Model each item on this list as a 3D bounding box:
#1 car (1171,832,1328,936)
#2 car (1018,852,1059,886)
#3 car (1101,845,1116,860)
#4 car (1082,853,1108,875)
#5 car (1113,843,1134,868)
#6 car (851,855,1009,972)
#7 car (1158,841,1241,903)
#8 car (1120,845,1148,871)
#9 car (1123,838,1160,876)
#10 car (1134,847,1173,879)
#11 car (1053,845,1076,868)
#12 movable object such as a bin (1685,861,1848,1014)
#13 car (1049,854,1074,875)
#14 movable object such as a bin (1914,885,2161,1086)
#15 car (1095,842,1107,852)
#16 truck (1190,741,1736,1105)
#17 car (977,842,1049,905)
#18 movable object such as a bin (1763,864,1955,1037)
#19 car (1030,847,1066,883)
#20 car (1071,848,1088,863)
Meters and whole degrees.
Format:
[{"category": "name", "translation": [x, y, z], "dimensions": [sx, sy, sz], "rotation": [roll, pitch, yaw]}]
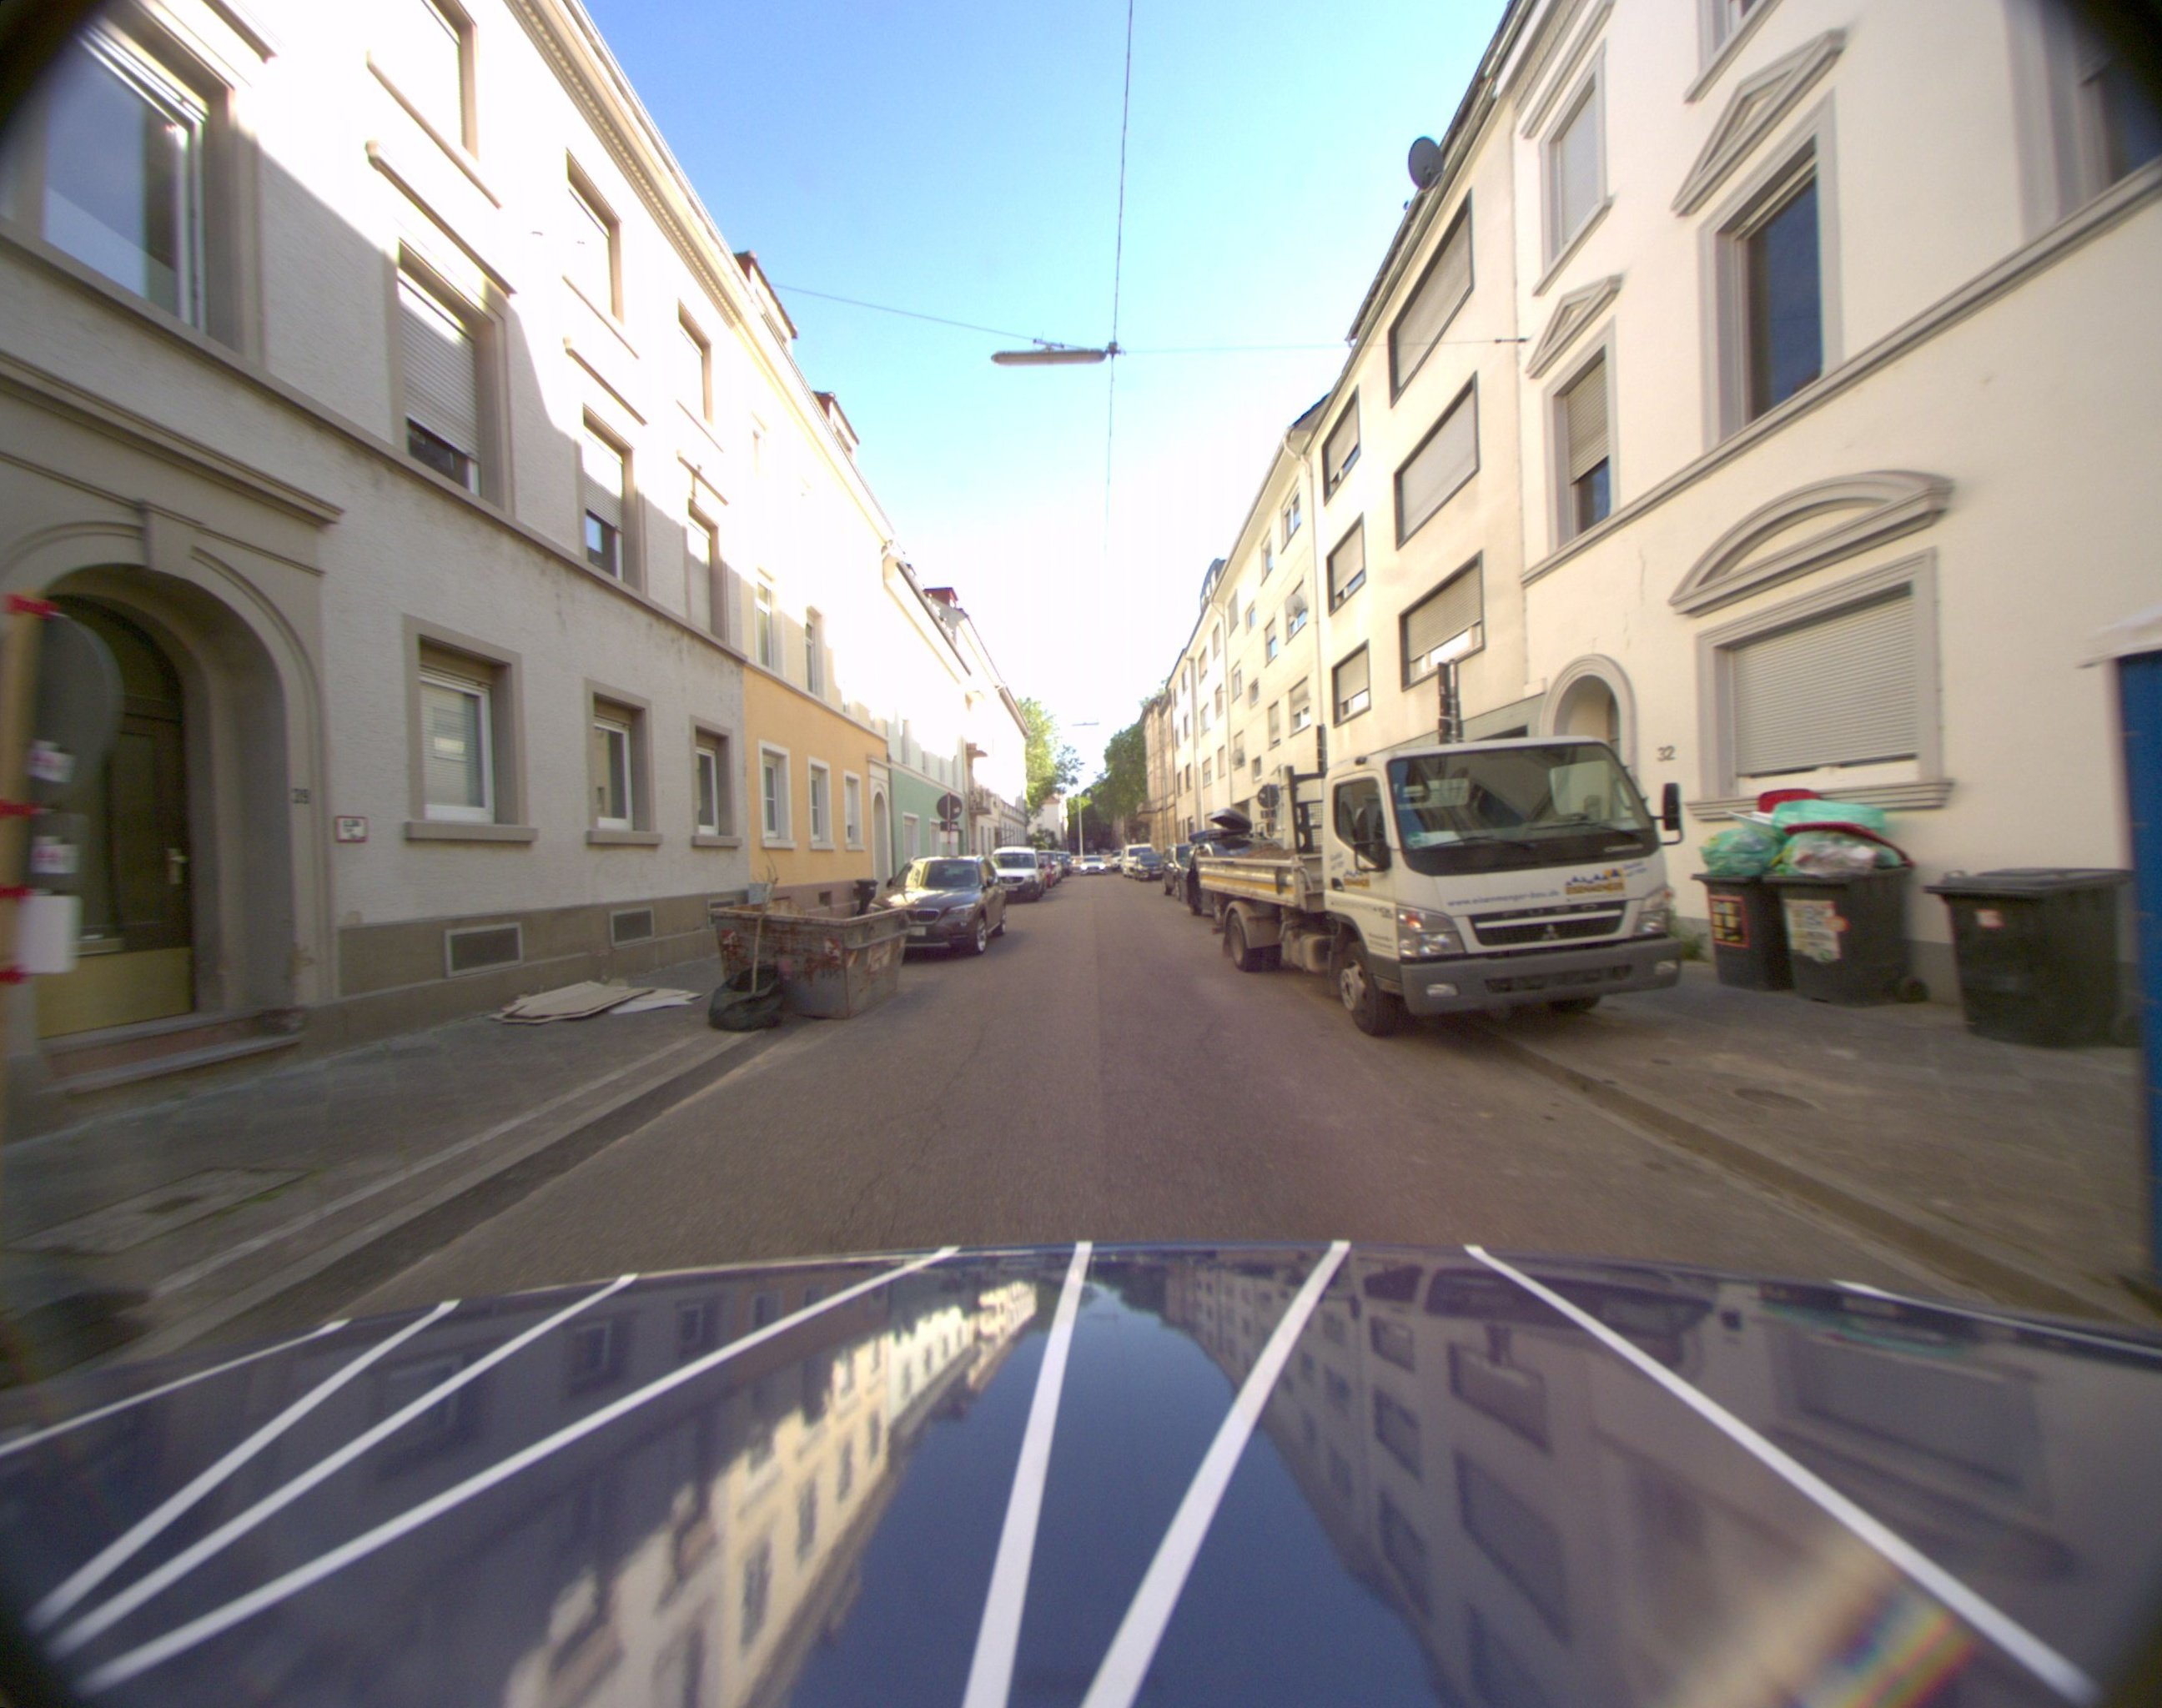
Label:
[{"category": "car", "translation": [3.352, 0.508, 16.338], "dimensions": [1.918, 1.871, 5.183], "rotation": [0, 1, -4]}, {"category": "car", "translation": [-1.917, 0.678, 35.304], "dimensions": [1.578, 1.460, 3.869], "rotation": [-2, -1, 1]}, {"category": "car", "translation": [3.389, -0.221, 95.284], "dimensions": [1.786, 1.674, 4.021], "rotation": [-2, 1, 1]}, {"category": "car", "translation": [1.044, 0.700, 54.767], "dimensions": [1.761, 1.399, 4.021], "rotation": [-2, 1, 1]}, {"category": "car", "translation": [3.656, 0.073, 65.635], "dimensions": [1.585, 1.971, 4.067], "rotation": [-2, 1, 1]}, {"category": "car", "translation": [-2.358, 0.857, 12.921], "dimensions": [1.744, 1.534, 4.050], "rotation": [-2, 1, 1]}, {"category": "car", "translation": [3.687, 0.487, 24.384], "dimensions": [1.759, 1.760, 4.177], "rotation": [-1, 1, -3]}, {"category": "car", "translation": [3.895, 0.281, 56.294], "dimensions": [1.768, 1.724, 4.835], "rotation": [-2, 1, 1]}, {"category": "car", "translation": [3.621, 0.131, 45.937], "dimensions": [1.913, 2.076, 4.696], "rotation": [-2, 1, 1]}, {"category": "car", "translation": [3.711, 0.408, 39.432], "dimensions": [1.730, 1.484, 4.115], "rotation": [-3, 0, 3]}, {"category": "car", "translation": [-1.457, 0.176, 67.997], "dimensions": [1.786, 1.868, 4.021], "rotation": [-2, 1, 1]}, {"category": "movable object such as a bin", "translation": [5.797, 0.675, 6.461], "dimensions": [0.759, 1.187, 0.696], "rotation": [-2, 2, -3]}, {"category": "car", "translation": [-1.420, 0.737, 56.645], "dimensions": [1.588, 1.409, 3.557], "rotation": [-2, 1, 1]}, {"category": "movable object such as a bin", "translation": [5.843, 0.754, 4.628], "dimensions": [0.788, 1.066, 0.696], "rotation": [-2, 2, -3]}, {"category": "car", "translation": [3.541, -1.187, 134.970], "dimensions": [1.985, 1.674, 4.021], "rotation": [-2, 1, 1]}, {"category": "truck", "translation": [2.946, 0.366, 8.048], "dimensions": [2.171, 2.296, 6.344], "rotation": [-1, 1, -5]}, {"category": "car", "translation": [-2.237, 0.588, 26.027], "dimensions": [1.898, 1.875, 4.457], "rotation": [-2, 1, 1]}, {"category": "movable object such as a bin", "translation": [5.854, 0.694, 5.758], "dimensions": [0.759, 1.184, 0.686], "rotation": [-2, 2, -3]}, {"category": "car", "translation": [-1.740, 0.560, 40.999], "dimensions": [1.604, 1.772, 3.759], "rotation": [-2, 1, 1]}, {"category": "car", "translation": [-0.155, 0.174, 89.081], "dimensions": [1.857, 1.621, 4.072], "rotation": [-2, 1, 1]}]
